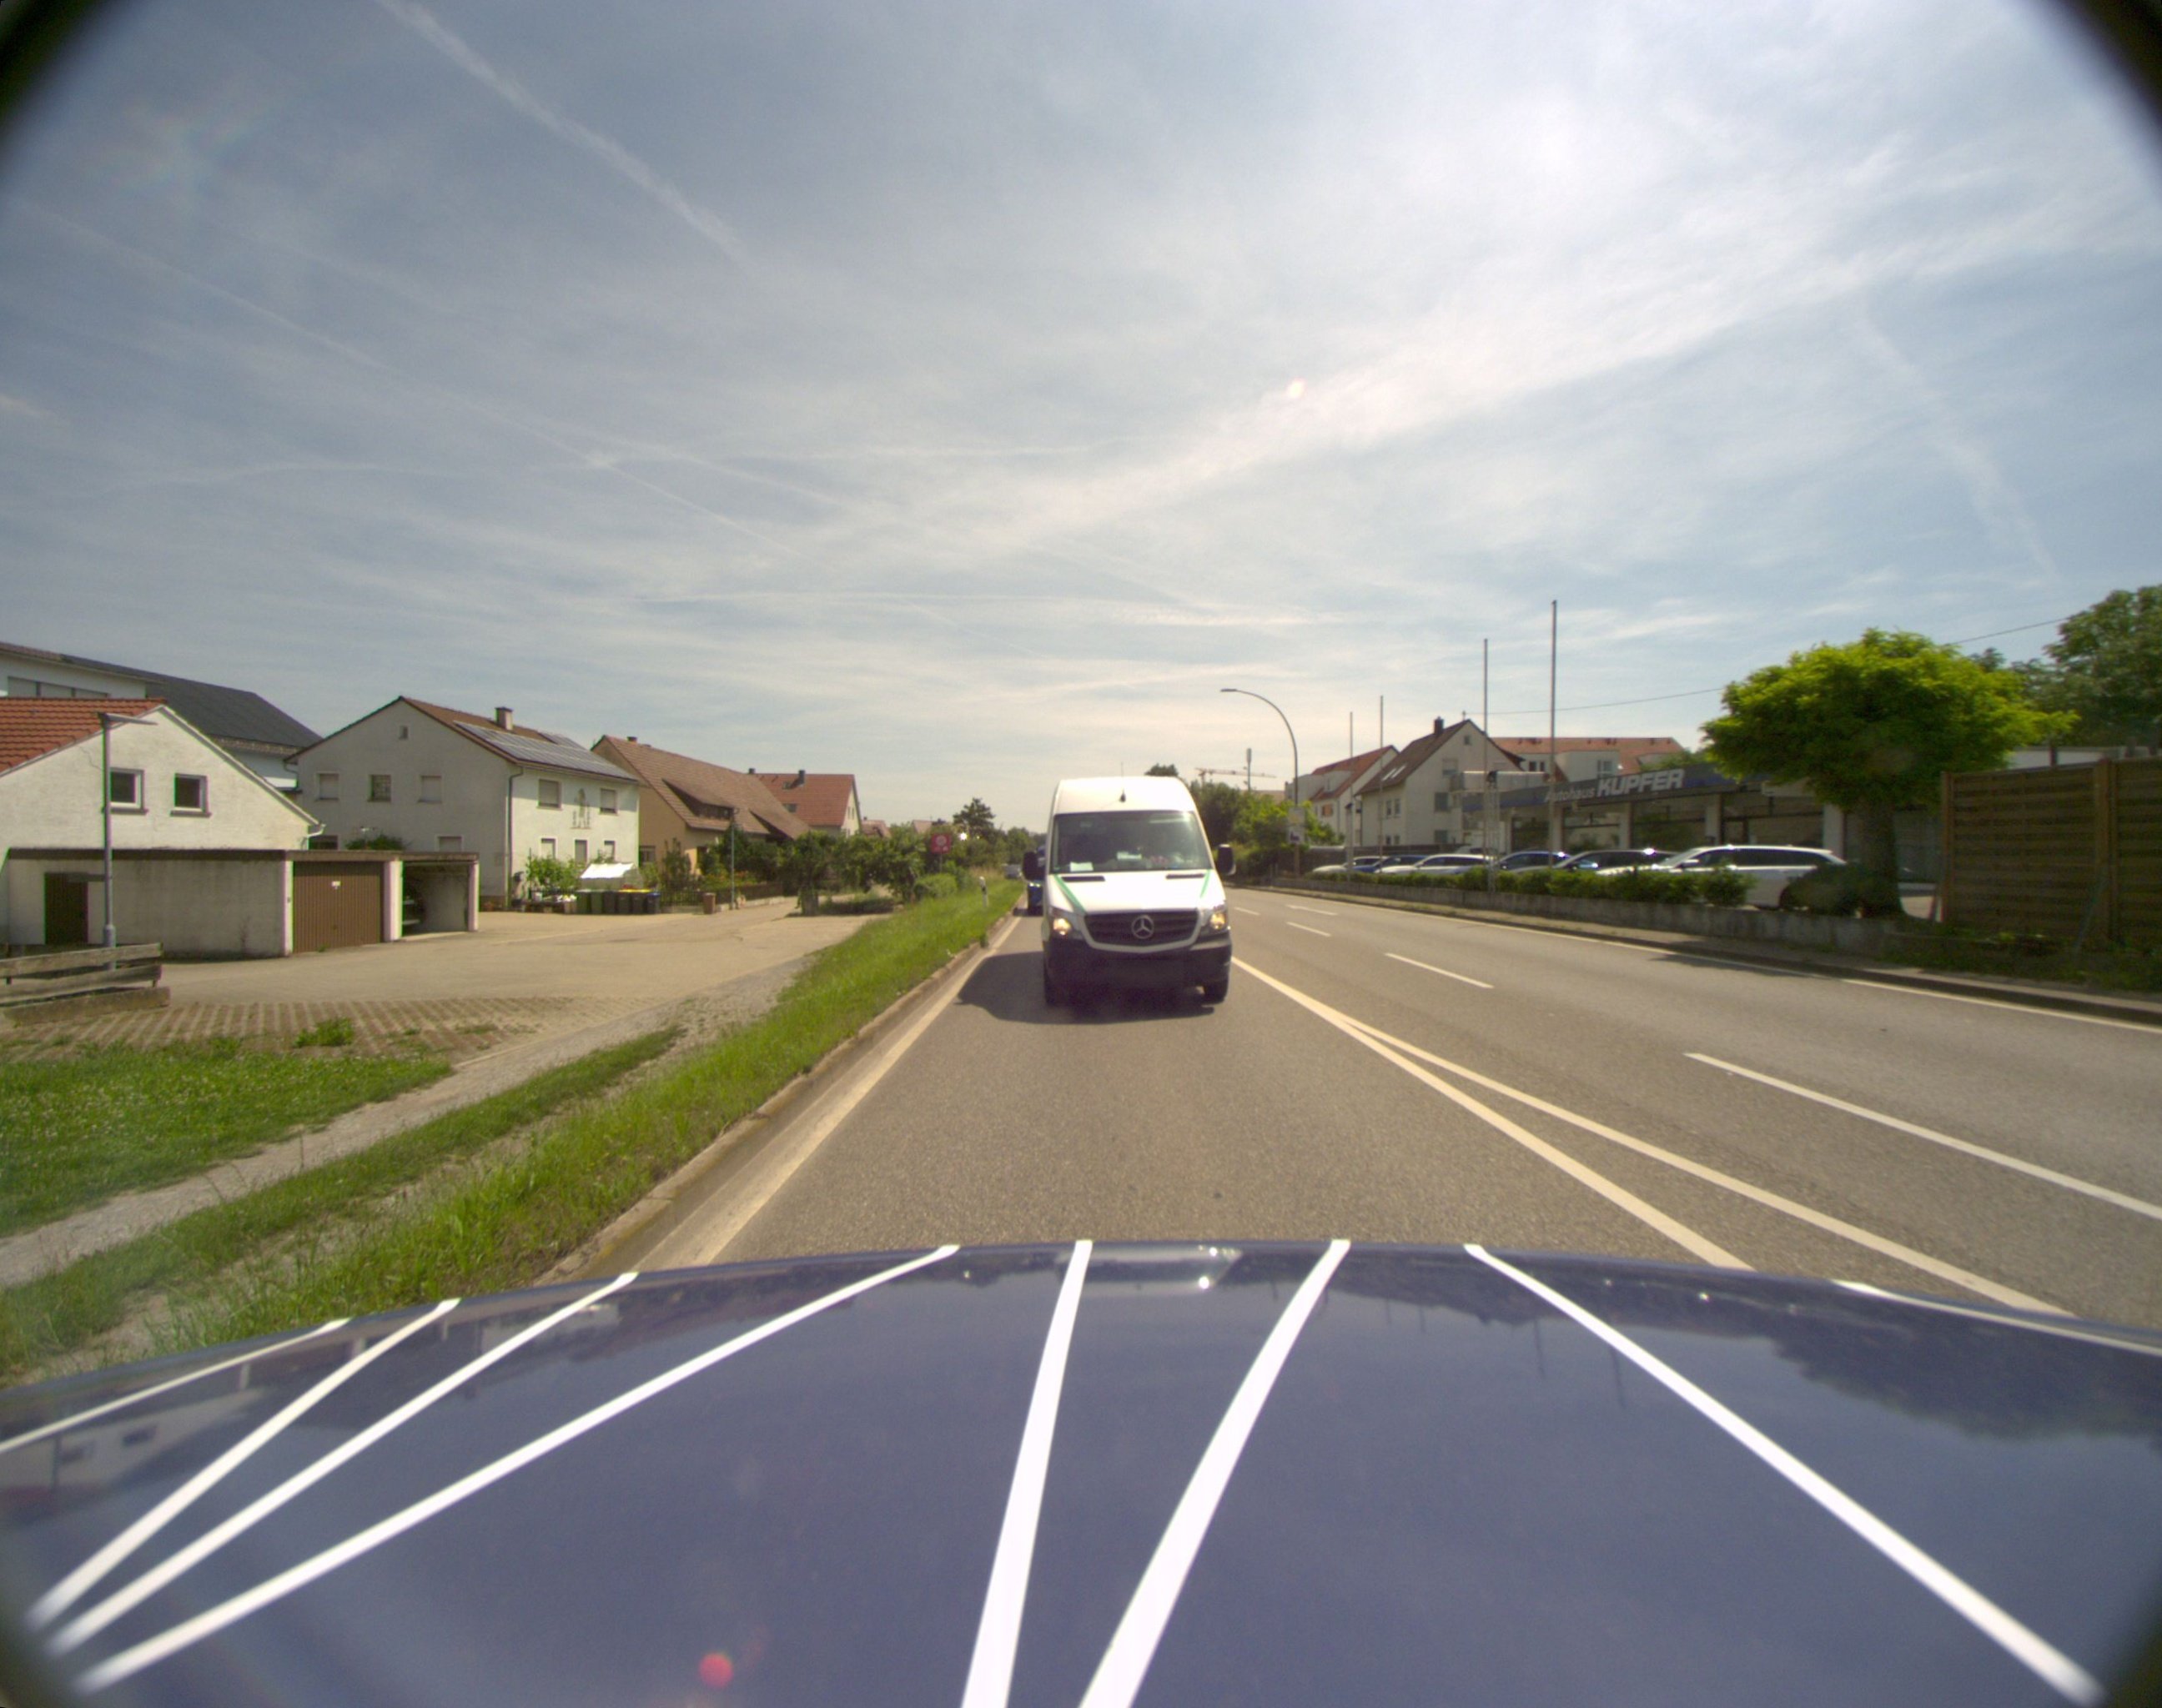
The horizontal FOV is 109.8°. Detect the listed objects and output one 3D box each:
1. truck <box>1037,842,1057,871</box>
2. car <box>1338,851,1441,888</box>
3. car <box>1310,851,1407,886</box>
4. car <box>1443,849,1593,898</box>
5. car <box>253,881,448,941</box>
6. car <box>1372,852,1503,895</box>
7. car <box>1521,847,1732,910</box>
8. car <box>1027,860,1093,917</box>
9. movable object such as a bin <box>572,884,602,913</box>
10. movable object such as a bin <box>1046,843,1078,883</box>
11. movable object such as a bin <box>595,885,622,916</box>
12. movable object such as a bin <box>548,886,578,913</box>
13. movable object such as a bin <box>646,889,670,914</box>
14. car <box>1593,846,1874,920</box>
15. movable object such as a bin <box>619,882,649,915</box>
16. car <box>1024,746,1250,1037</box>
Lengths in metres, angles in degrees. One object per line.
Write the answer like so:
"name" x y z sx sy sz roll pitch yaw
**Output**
"truck" -4.672 0.320 105.619 2.506 3.847 5.497 -2 0 -1
"car" 13.477 0.683 33.160 3.990 1.455 2.003 -2 0 26
"car" 13.544 0.705 37.081 4.255 1.521 2.003 -2 0 26
"car" 13.887 0.635 24.421 3.990 1.433 1.857 -2 0 25
"car" -21.565 1.661 22.553 3.997 1.594 1.826 -1 0 0
"car" 13.465 0.738 28.819 4.303 1.510 2.004 -2 0 27
"car" 14.398 0.665 20.367 4.251 1.536 1.853 -2 0 23
"car" -0.615 0.973 23.048 1.824 1.574 3.901 -1 0 -1
"movable object such as a bin" -22.146 1.975 34.085 0.745 1.239 0.889 -2 0 -1
"movable object such as a bin" -1.345 0.645 54.778 1.998 2.710 5.419 -1 0 1
"movable object such as a bin" -21.226 2.063 34.128 0.678 1.330 0.820 -2 0 -1
"movable object such as a bin" -23.076 2.006 33.841 0.740 1.149 0.830 -2 0 -1
"movable object such as a bin" -18.878 2.114 33.926 0.645 1.021 0.756 -2 0 -1
"car" 14.052 0.618 16.736 4.329 1.451 1.858 -2 0 24
"movable object such as a bin" -19.886 1.970 33.832 0.765 1.362 0.946 -2 0 -1
"car" 0.477 0.360 9.740 1.978 2.583 5.633 -2 0 -1
